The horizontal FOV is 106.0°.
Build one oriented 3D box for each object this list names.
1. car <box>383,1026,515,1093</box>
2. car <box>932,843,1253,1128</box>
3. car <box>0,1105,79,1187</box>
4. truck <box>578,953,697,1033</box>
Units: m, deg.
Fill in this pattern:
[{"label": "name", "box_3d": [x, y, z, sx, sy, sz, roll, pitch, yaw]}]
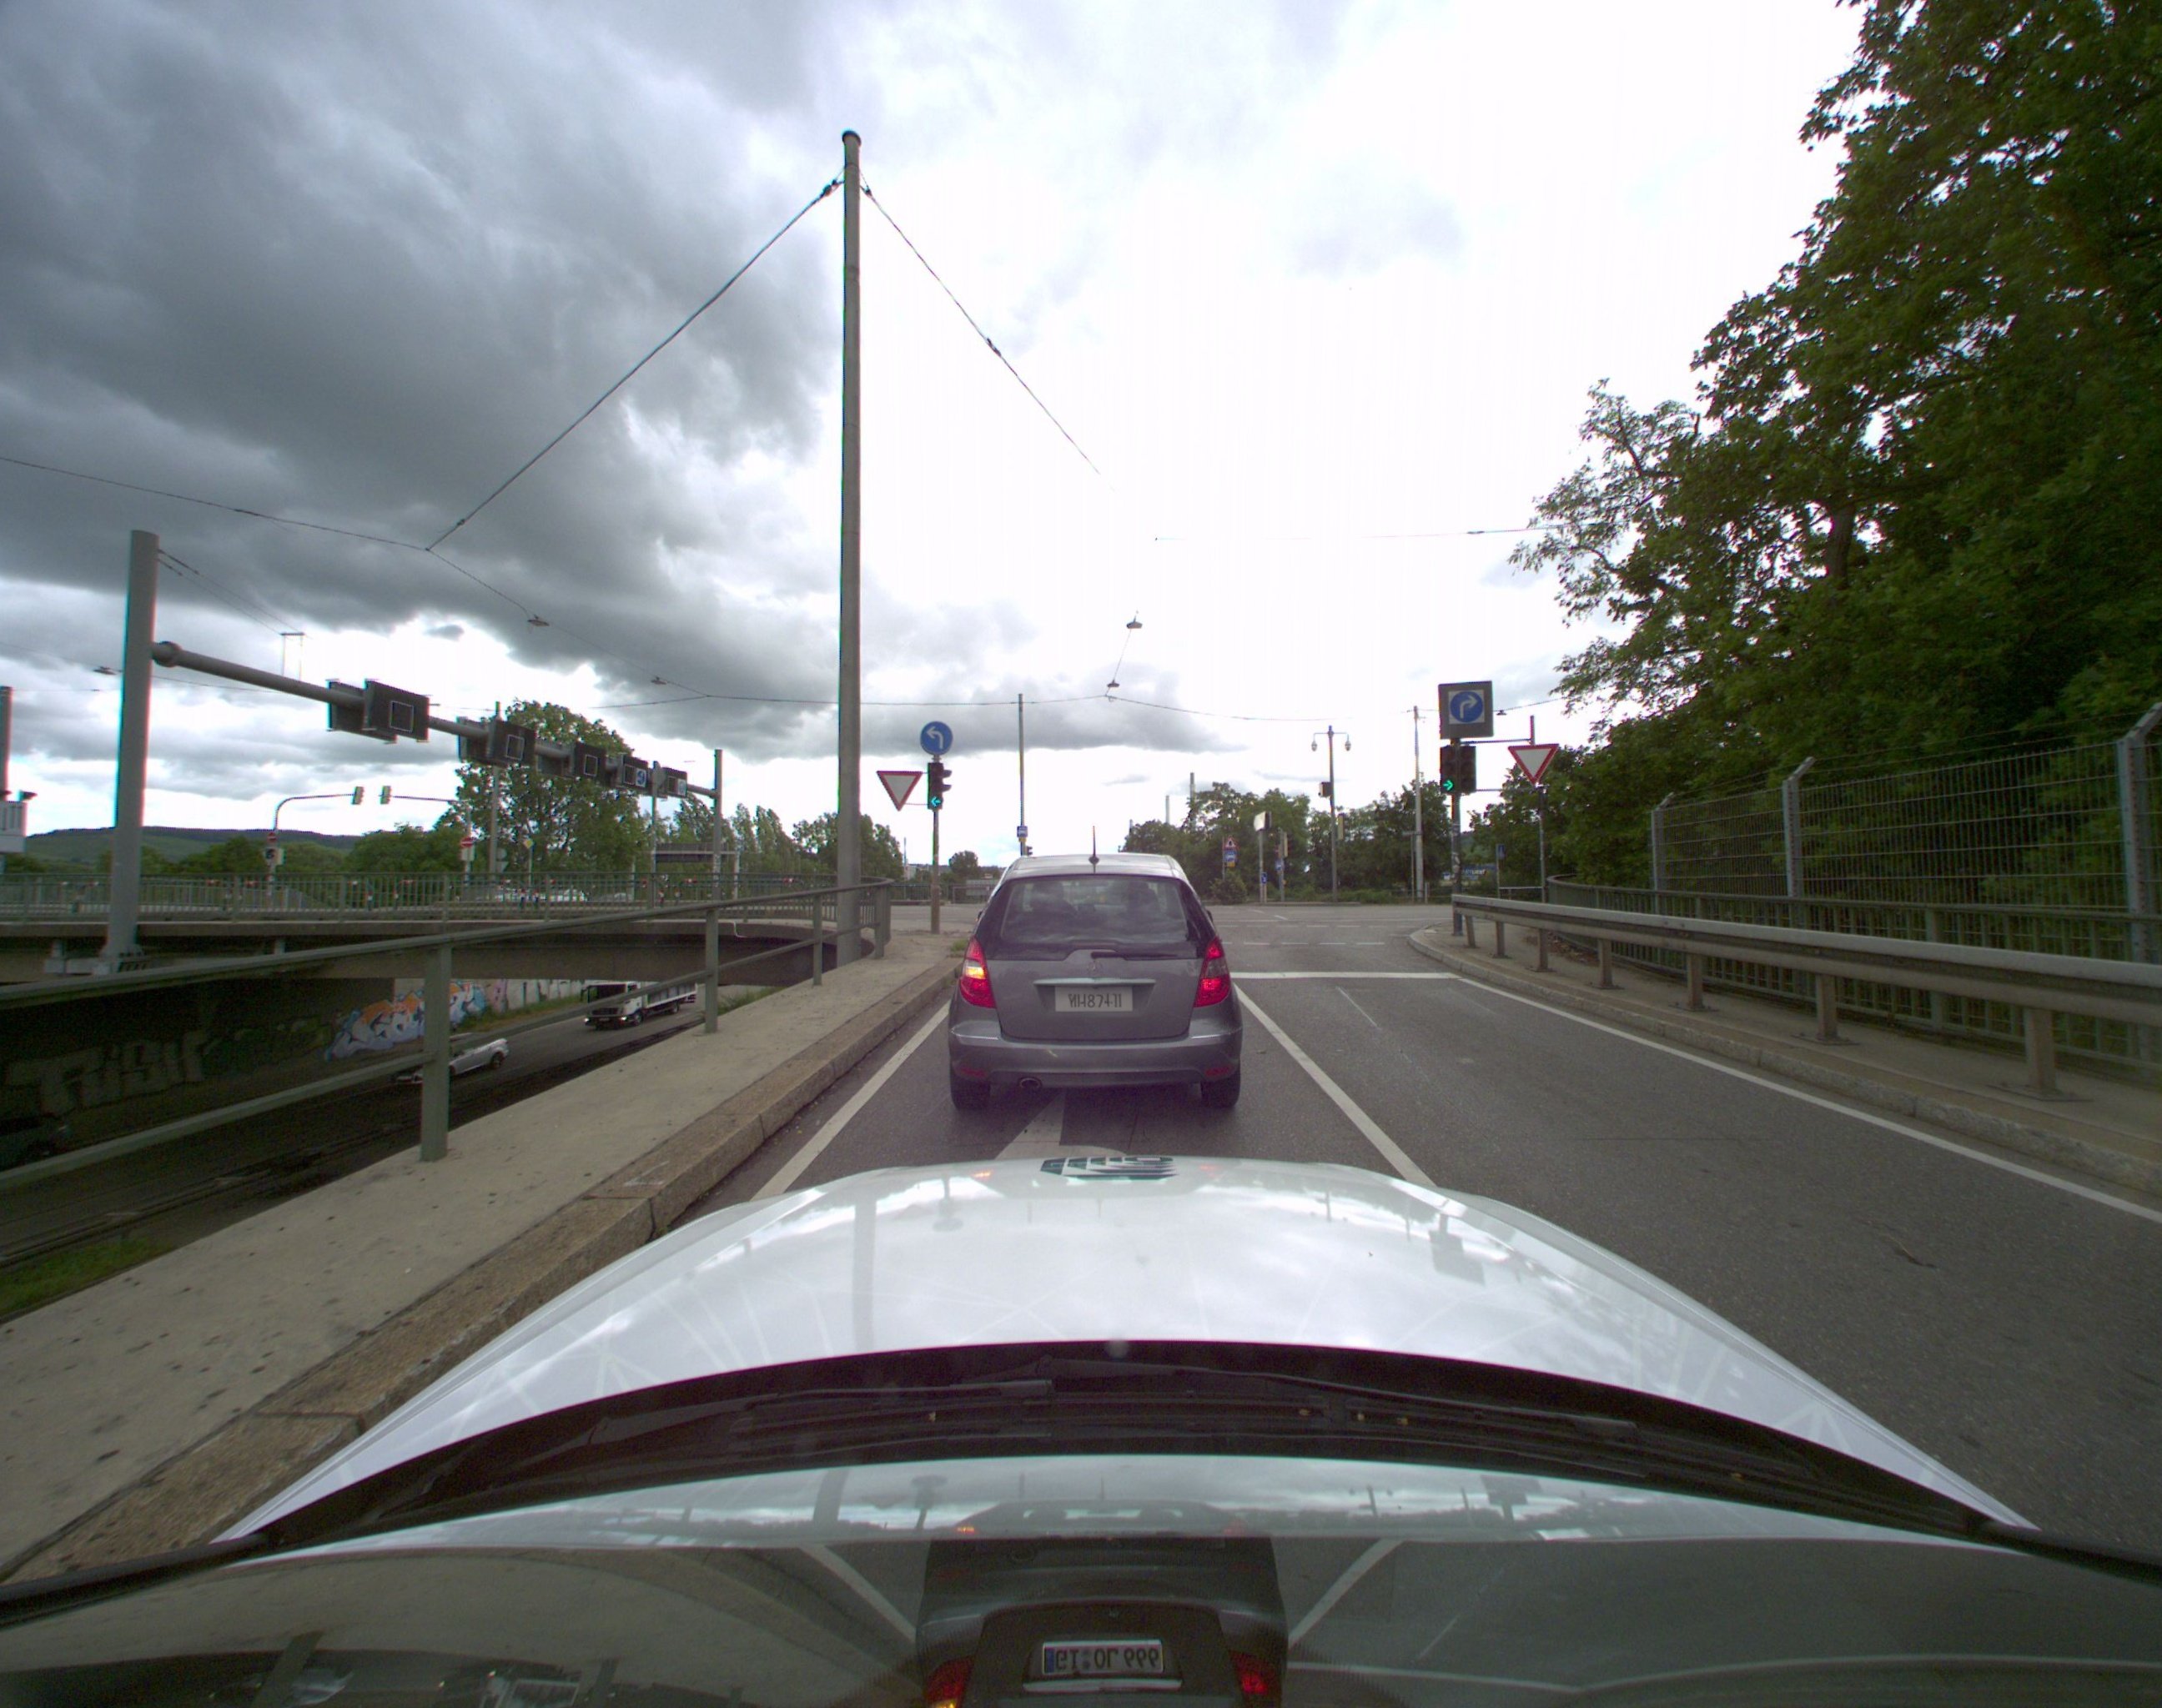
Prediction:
[{"label": "car", "box_3d": [-24.781, 8.031, 32.178, 1.675, 1.611, 4.492, -2, -3, 0]}, {"label": "car", "box_3d": [0.120, 0.730, 6.209, 1.733, 1.543, 3.542, 0, -1, 2]}, {"label": "car", "box_3d": [-28.285, 7.616, 20.113, 1.705, 1.670, 4.256, -2, -3, 2]}, {"label": "truck", "box_3d": [-25.073, 7.732, 46.547, 2.506, 3.462, 8.123, -2, -3, -1]}]
